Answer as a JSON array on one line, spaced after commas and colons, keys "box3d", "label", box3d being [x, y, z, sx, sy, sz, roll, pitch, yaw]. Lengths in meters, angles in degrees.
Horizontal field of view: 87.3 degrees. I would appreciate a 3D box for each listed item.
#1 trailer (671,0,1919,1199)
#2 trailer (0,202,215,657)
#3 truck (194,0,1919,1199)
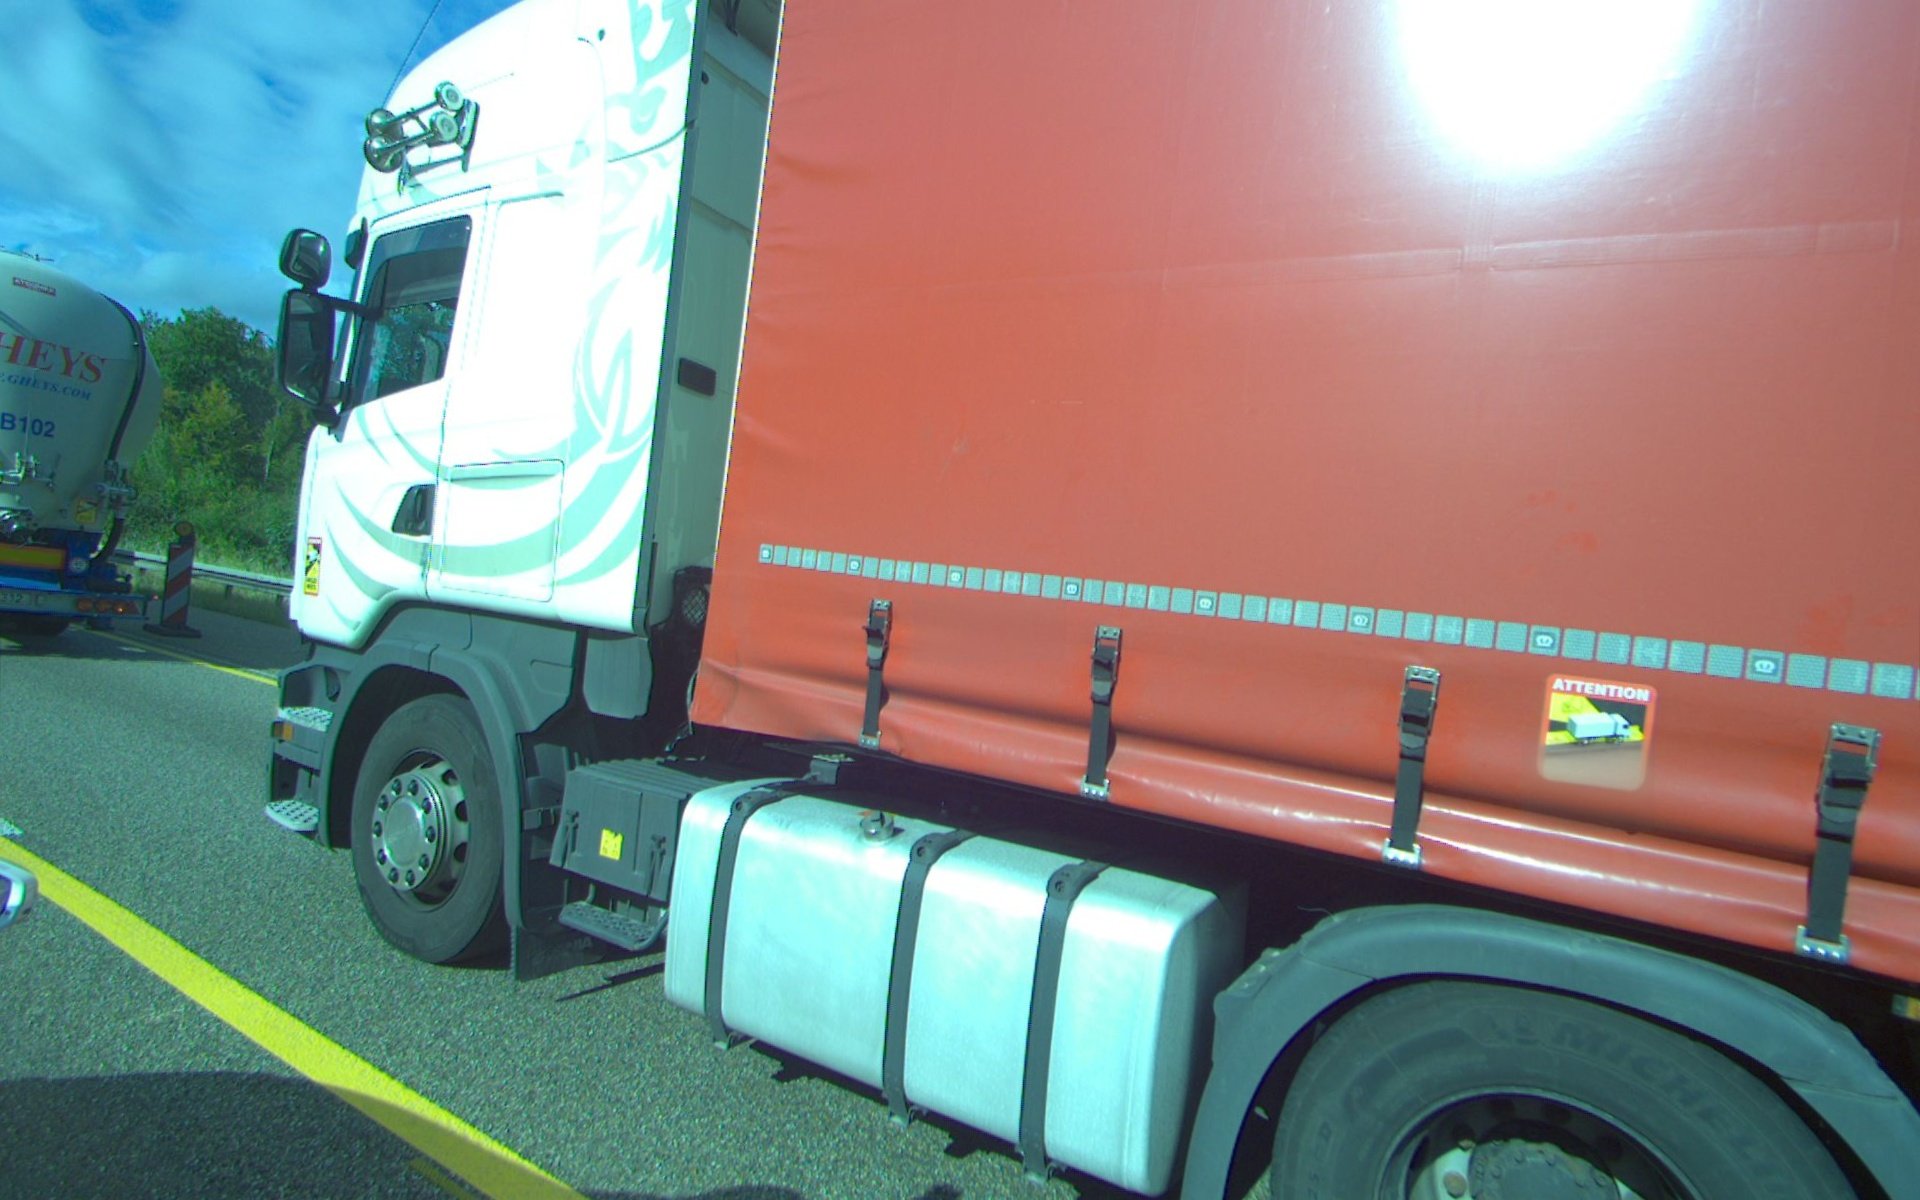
[{"box3d": [5.755, 0.149, 0.577, 13.192, 4.014, 2.706, 6, -2, 31], "label": "trailer"}, {"box3d": [-13.878, -2.124, 12.472, 12.387, 3.989, 2.650, 6, -2, 31], "label": "trailer"}, {"box3d": [0.031, -0.467, 4.046, 5.614, 4.006, 2.673, 7, -1, 31], "label": "truck"}]
